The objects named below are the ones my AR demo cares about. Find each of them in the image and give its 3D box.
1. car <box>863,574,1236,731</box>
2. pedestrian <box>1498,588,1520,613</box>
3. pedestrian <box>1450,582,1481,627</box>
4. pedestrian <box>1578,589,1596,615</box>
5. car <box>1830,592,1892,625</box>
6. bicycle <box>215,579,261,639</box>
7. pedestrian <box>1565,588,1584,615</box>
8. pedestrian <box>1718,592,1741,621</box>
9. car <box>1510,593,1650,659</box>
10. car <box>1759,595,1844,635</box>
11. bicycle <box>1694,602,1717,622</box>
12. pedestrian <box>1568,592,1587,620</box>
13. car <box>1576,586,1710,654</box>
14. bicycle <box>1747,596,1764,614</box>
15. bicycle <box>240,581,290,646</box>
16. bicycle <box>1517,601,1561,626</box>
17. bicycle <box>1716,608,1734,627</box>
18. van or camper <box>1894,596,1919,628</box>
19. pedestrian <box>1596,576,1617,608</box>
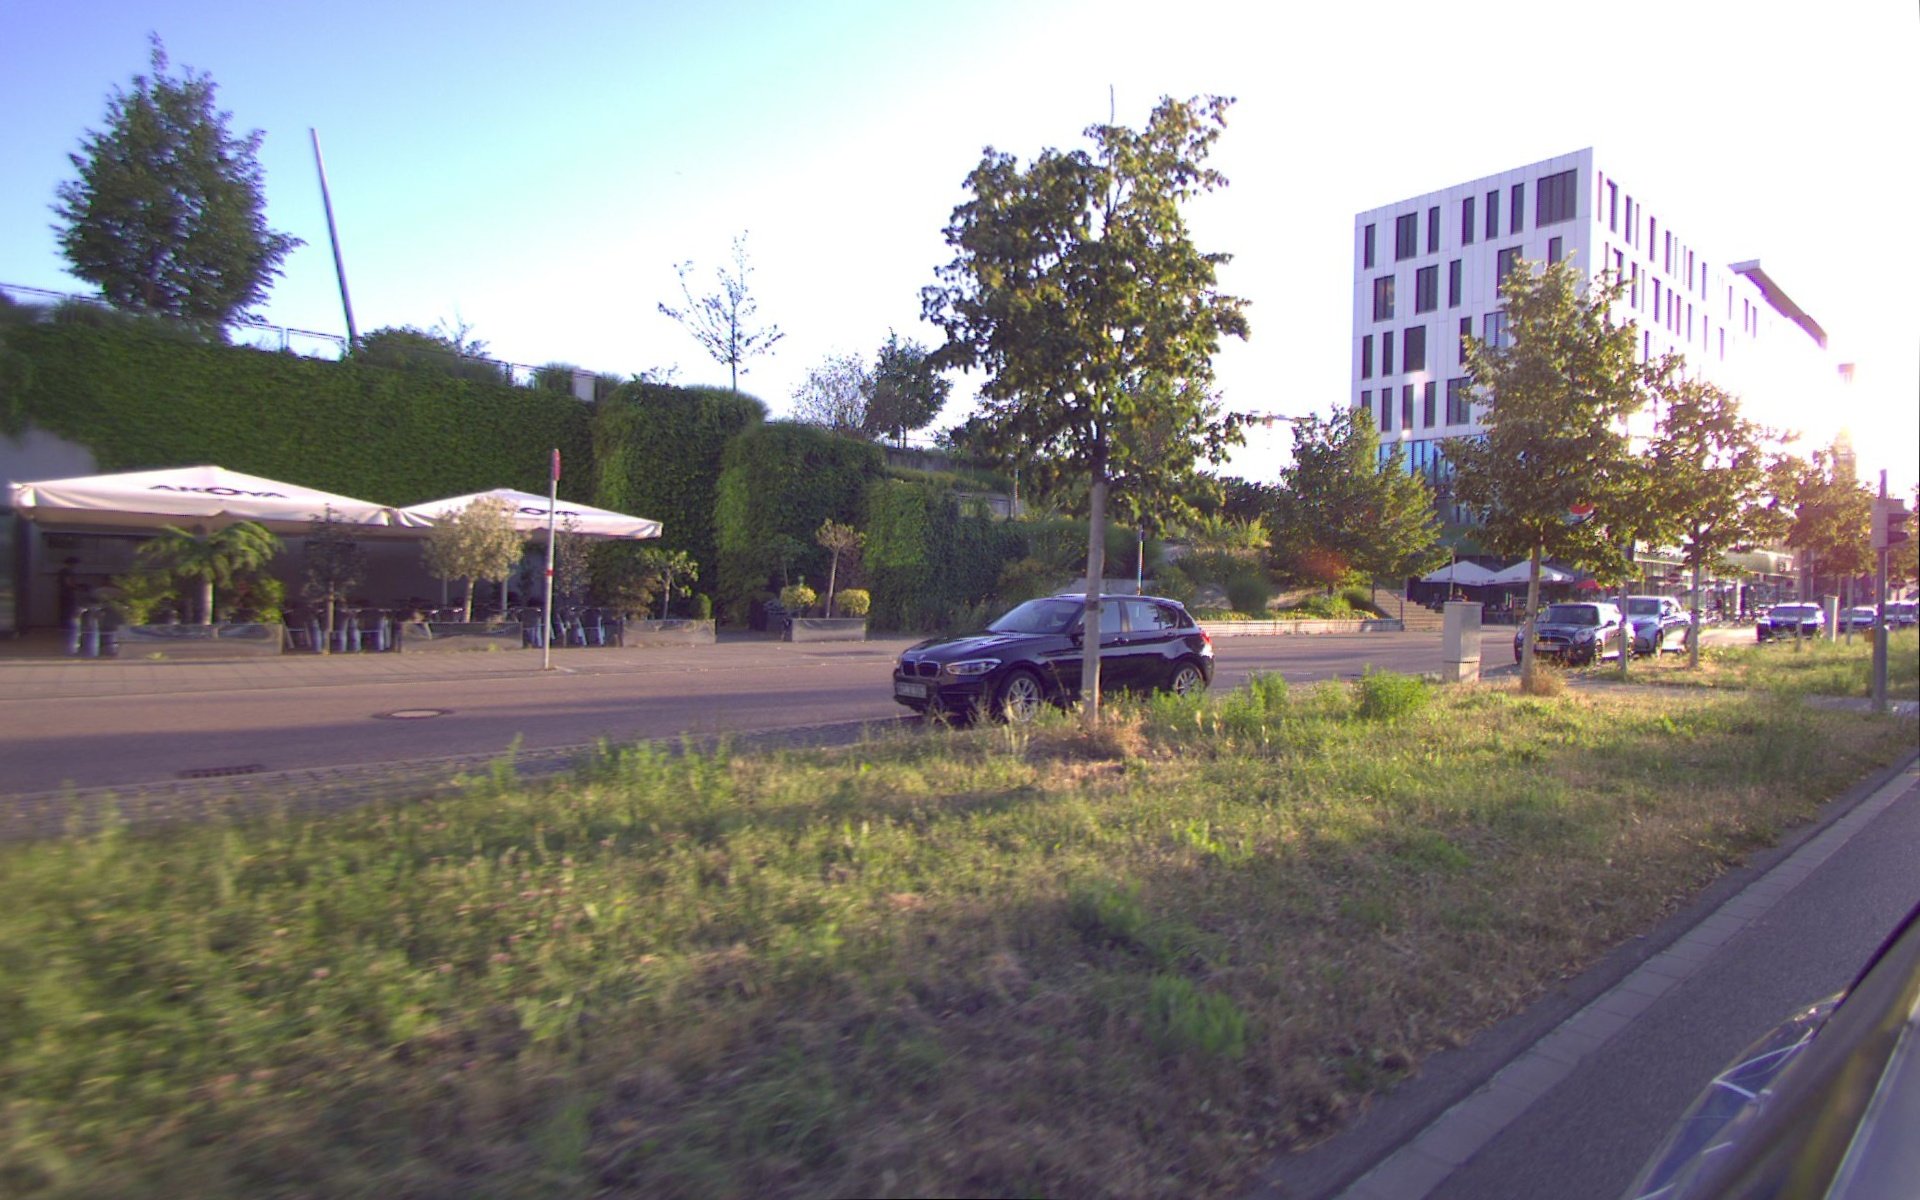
[{"bbox_3d":[1.159,0.513,11.872,4.288,1.520,1.813,0,0,-38],"label":"car"},{"bbox_3d":[28.855,0.029,53.192,0.757,1.281,0.744,0,1,-40],"label":"pedestrian"},{"bbox_3d":[19.598,0.168,39.217,1.060,1.675,0.696,0,1,-42],"label":"pedestrian"},{"bbox_3d":[32.482,0.118,52.427,0.681,1.306,0.621,4,3,36],"label":"pedestrian"},{"bbox_3d":[45.317,0.404,50.874,4.402,1.519,1.811,0,1,-42],"label":"car"},{"bbox_3d":[-14.389,0.160,20.148,0.492,1.121,1.796,0,1,-44],"label":"bicycle"},{"bbox_3d":[31.533,0.085,51.938,0.654,1.306,0.681,3,2,17],"label":"pedestrian"},{"bbox_3d":[52.013,0.421,68.412,0.931,1.906,1.028,0,1,-42],"label":"pedestrian"},{"bbox_3d":[14.470,0.542,23.539,3.931,1.416,1.752,0,0,-42],"label":"car"},{"bbox_3d":[34.649,0.571,41.622,5.317,1.519,1.923,0,1,-42],"label":"car"},{"bbox_3d":[42.792,0.672,58.078,2.039,1.076,0.684,0,3,-44],"label":"bicycle"},{"bbox_3d":[31.184,0.272,51.095,0.741,1.385,0.760,1,1,38],"label":"pedestrian"},{"bbox_3d":[18.146,0.506,26.809,4.595,1.653,1.810,0,-2,-42],"label":"car"},{"bbox_3d":[51.099,0.287,64.991,2.110,1.122,0.388,0,4,-41],"label":"bicycle"},{"bbox_3d":[-12.911,0.229,18.780,0.492,1.121,1.796,0,1,-44],"label":"bicycle"},{"bbox_3d":[24.467,0.561,42.733,1.872,1.056,0.546,0,1,-22],"label":"bicycle"},{"bbox_3d":[44.796,0.991,59.246,0.596,1.053,2.041,4,3,42],"label":"bicycle"},{"bbox_3d":[58.785,0.716,61.815,4.745,1.944,1.962,0,-1,-41],"label":"van or camper"},{"bbox_3d":[36.714,-0.460,57.488,0.670,1.781,0.664,1,2,-23],"label":"pedestrian"}]
